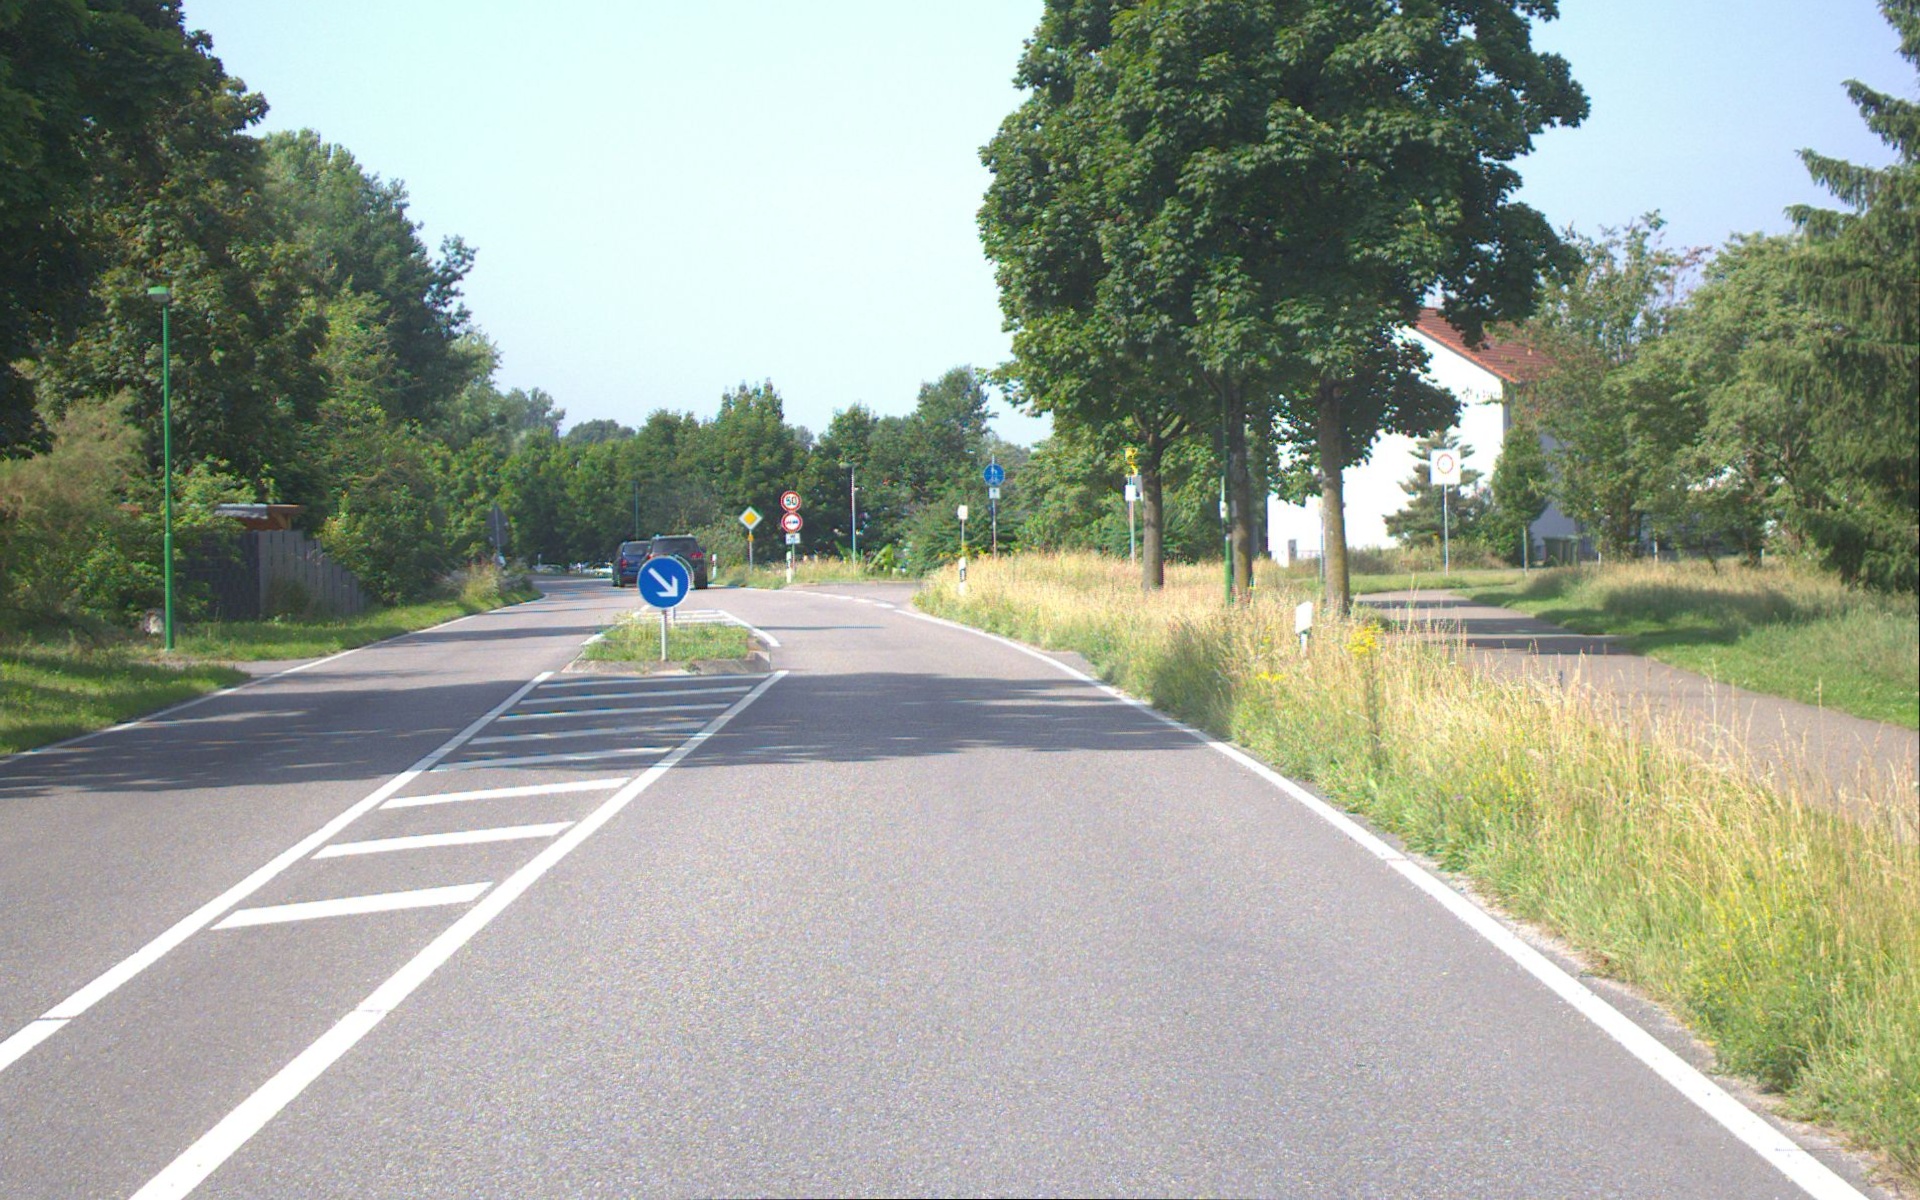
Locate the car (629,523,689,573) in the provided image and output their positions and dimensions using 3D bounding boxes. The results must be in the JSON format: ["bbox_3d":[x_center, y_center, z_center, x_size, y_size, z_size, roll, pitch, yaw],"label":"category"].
[{"bbox_3d":[-11.000,-1.902,125.308,2.003,1.765,4.001,-1,2,-7],"label":"car"}]

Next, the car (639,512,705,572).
[{"bbox_3d":[-8.879,-1.807,105.797,1.925,1.765,4.001,-1,2,-6],"label":"car"}]
